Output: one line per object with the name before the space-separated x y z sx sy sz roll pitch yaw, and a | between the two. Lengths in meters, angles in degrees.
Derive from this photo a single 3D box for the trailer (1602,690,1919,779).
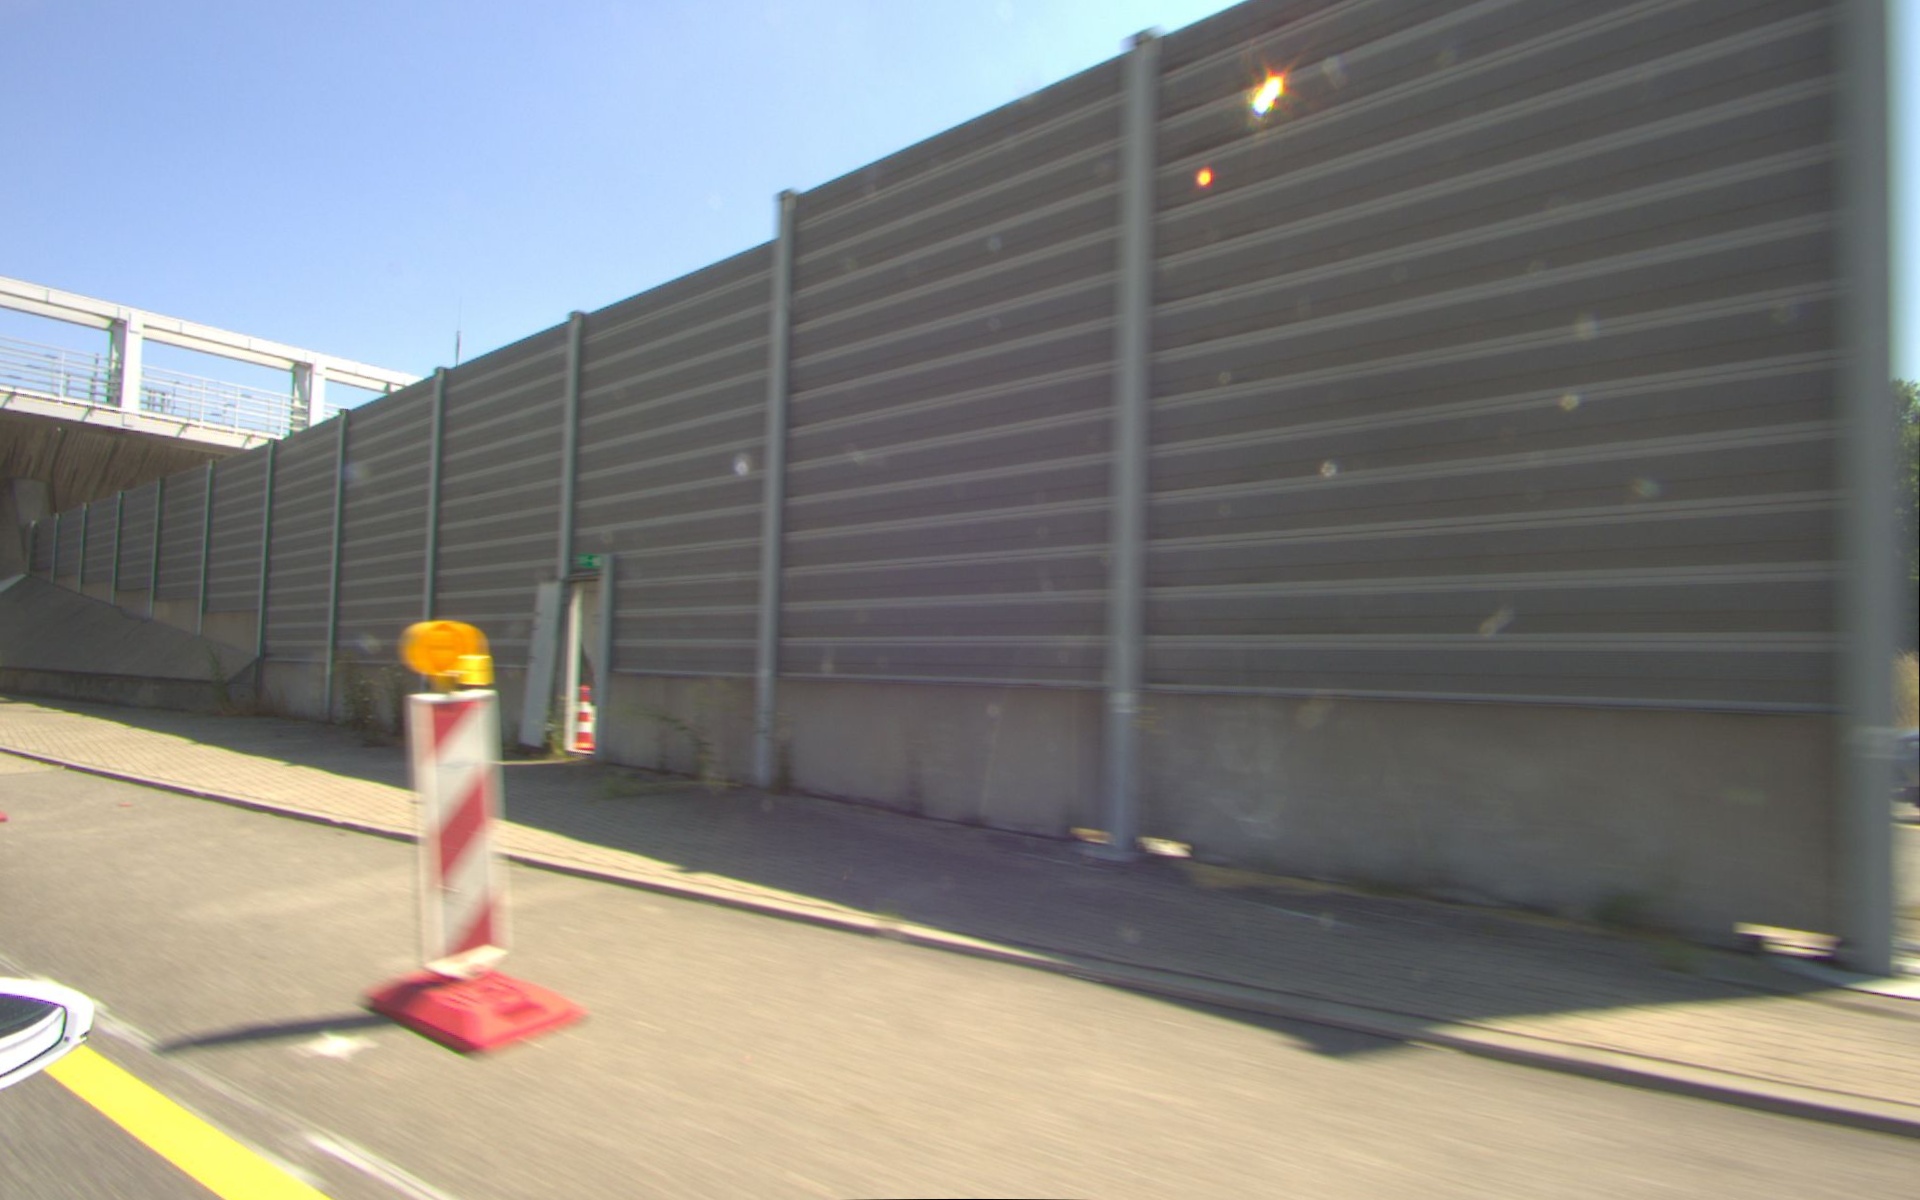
trailer | 18.323 2.969 22.732 6.142 1.588 2.593 -1 -3 30

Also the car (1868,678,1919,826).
car | 12.250 1.653 10.373 3.979 1.570 1.703 -2 -7 36

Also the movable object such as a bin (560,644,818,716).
movable object such as a bin | -13.278 3.648 47.803 14.500 3.047 3.106 -2 -4 34
